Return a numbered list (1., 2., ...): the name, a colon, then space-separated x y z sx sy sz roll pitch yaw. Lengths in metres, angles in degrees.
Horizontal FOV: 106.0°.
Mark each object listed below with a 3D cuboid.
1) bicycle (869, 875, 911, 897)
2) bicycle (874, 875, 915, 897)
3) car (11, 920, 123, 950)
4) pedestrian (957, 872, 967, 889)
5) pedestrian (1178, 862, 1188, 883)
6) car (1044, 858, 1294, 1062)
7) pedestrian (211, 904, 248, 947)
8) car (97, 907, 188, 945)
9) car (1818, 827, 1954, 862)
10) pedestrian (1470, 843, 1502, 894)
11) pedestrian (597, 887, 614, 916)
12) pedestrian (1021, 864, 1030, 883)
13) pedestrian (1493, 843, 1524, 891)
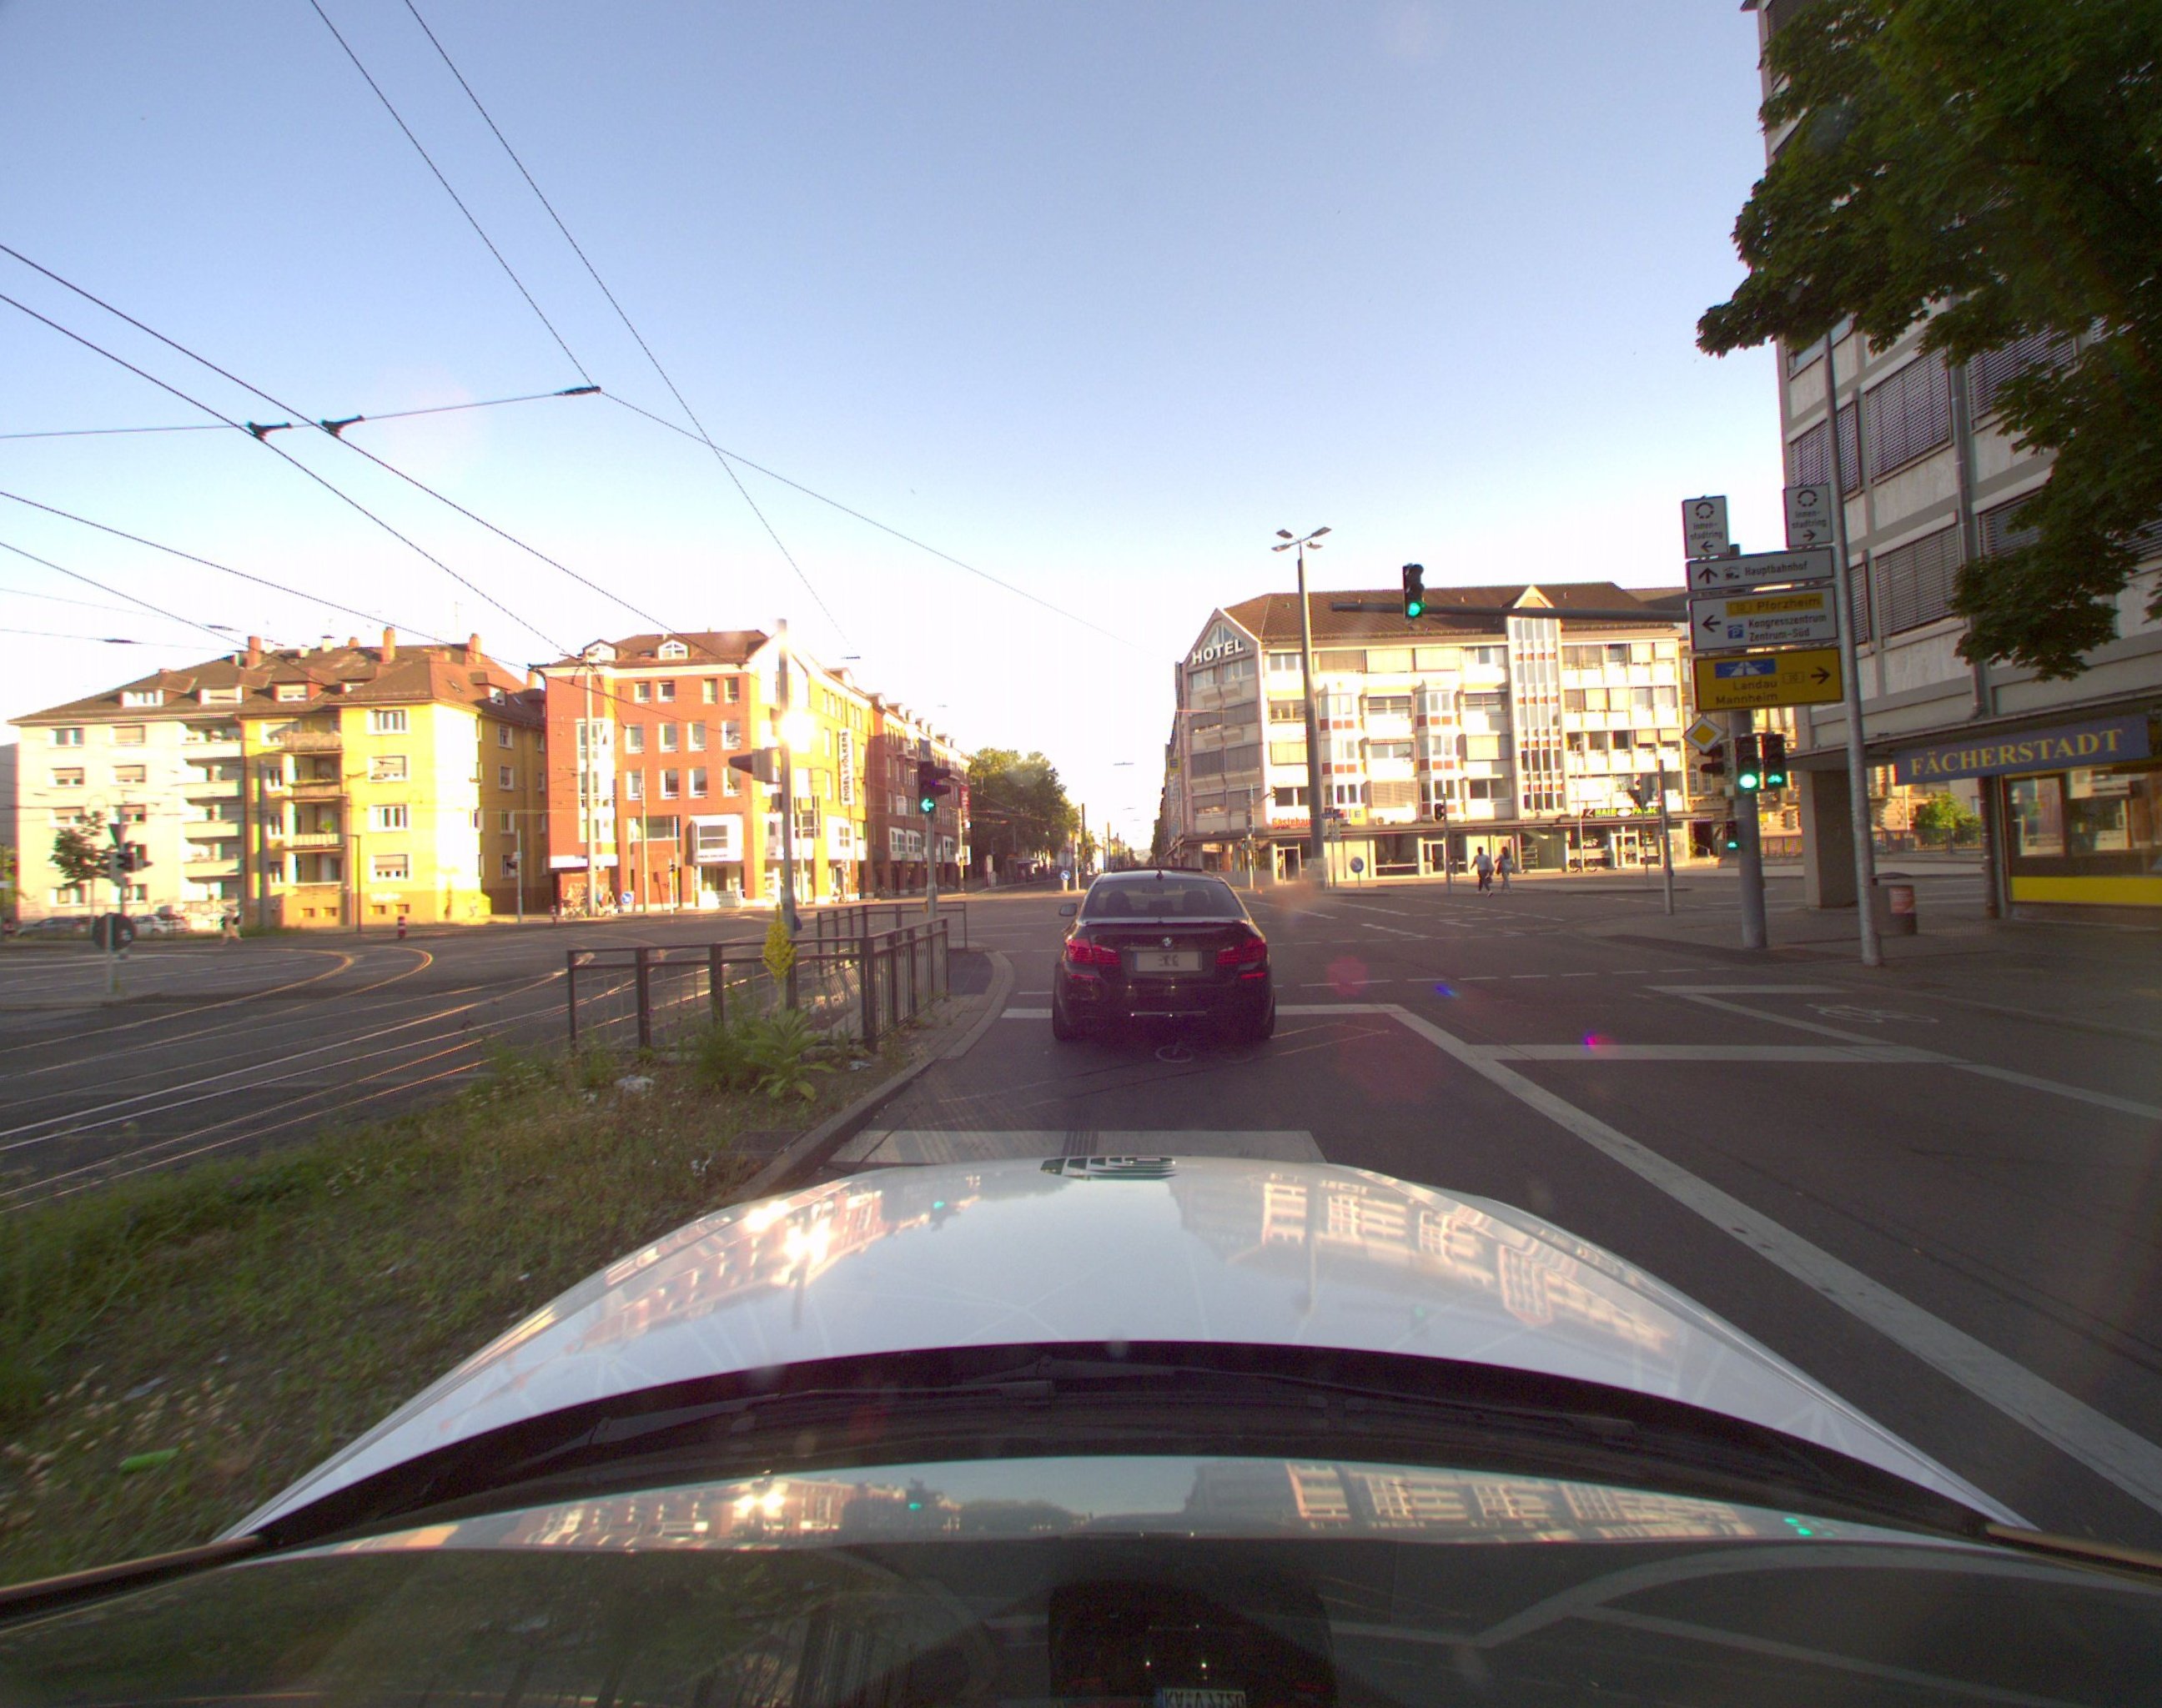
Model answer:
1. bicycle: -16.557 2.778 70.754 3.282 1.726 1.070 -3 -1 4
2. bicycle: -16.455 2.823 71.919 3.283 1.726 1.070 -3 -1 3
3. car: -64.979 5.167 52.255 4.323 1.705 2.117 -2 -3 -1
4. pedestrian: -14.693 3.306 100.562 1.081 2.014 1.084 -2 -1 0
5. pedestrian: 7.993 1.447 63.792 0.703 1.548 0.907 -1 2 1
6. car: 0.678 0.817 8.156 1.835 1.495 4.292 0 -1 1
7. pedestrian: -31.916 2.683 30.537 0.630 1.541 0.710 -3 -1 17
8. car: -59.870 4.566 51.980 3.525 1.418 1.739 -17 -3 -1
9. car: 41.605 -0.458 42.213 4.570 1.556 2.228 -3 -1 8
10. pedestrian: 13.502 0.479 27.148 0.718 1.649 0.776 -4 -2 40
11. pedestrian: -30.751 3.059 52.703 0.636 1.778 0.813 -3 -1 -5
12. pedestrian: -5.967 2.081 87.911 0.805 2.014 0.678 -3 -1 1
13. pedestrian: 14.437 0.432 27.479 0.696 1.582 0.831 -4 -2 40
